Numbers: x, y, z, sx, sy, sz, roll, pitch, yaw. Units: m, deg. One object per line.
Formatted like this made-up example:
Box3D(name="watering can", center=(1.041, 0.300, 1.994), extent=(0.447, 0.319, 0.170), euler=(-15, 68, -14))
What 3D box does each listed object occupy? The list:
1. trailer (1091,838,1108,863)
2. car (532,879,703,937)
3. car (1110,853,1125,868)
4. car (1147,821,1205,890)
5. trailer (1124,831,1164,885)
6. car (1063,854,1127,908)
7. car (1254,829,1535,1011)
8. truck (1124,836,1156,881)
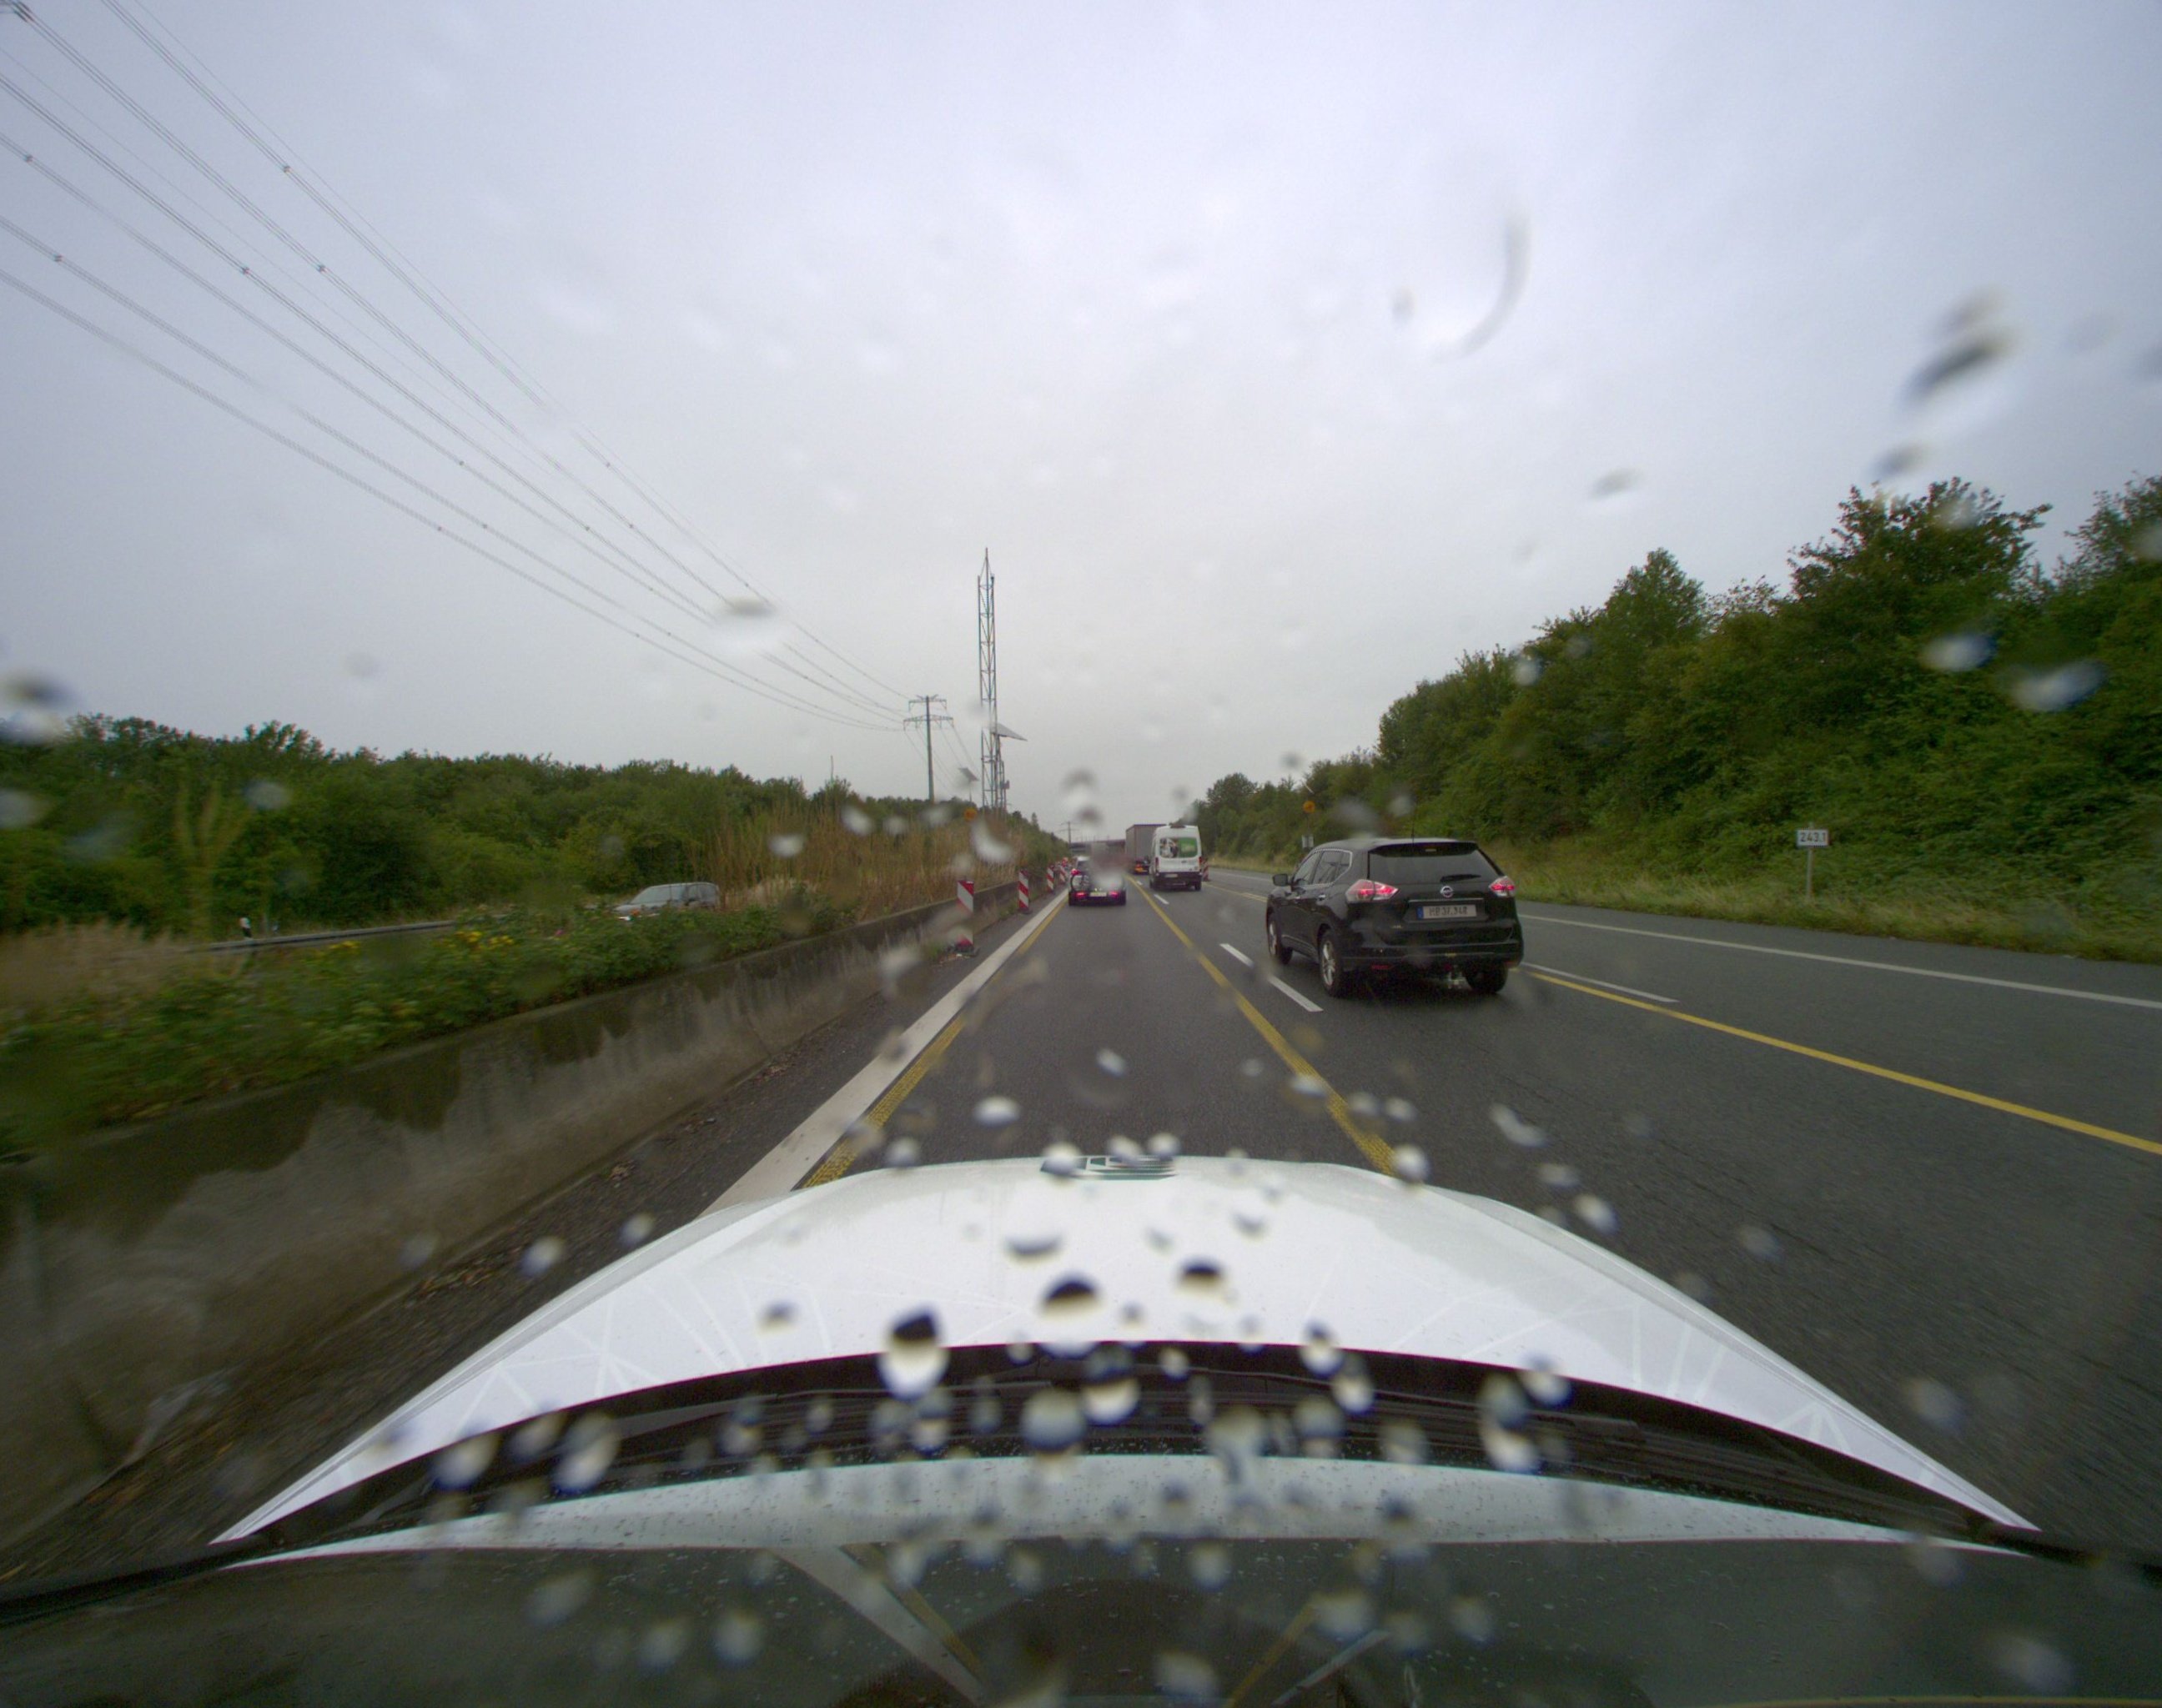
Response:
Box3D(name="trailer", center=(3.293, -0.550, 143.567), extent=(2.683, 4.076, 13.636), euler=(-1, 0, 1))
Box3D(name="car", center=(-11.188, 1.259, 20.043), extent=(1.726, 1.185, 4.162), euler=(-1, -1, 2))
Box3D(name="car", center=(4.684, 0.830, 106.298), extent=(1.823, 1.839, 4.656), euler=(-1, 0, 1))
Box3D(name="car", center=(4.160, 0.075, 36.670), extent=(1.986, 2.783, 5.757), euler=(-2, 0, 1))
Box3D(name="trailer", center=(5.315, 0.349, 70.634), extent=(2.696, 4.146, 13.736), euler=(-1, 0, 2))
Box3D(name="car", center=(0.476, 0.803, 26.370), extent=(1.843, 1.531, 4.770), euler=(-1, 0, 1))
Box3D(name="car", center=(3.386, 0.616, 9.744), extent=(1.679, 1.658, 4.280), euler=(-1, 0, 0))
Box3D(name="truck", center=(5.578, 0.402, 78.049), extent=(2.696, 4.138, 5.692), euler=(-1, 0, 1))
